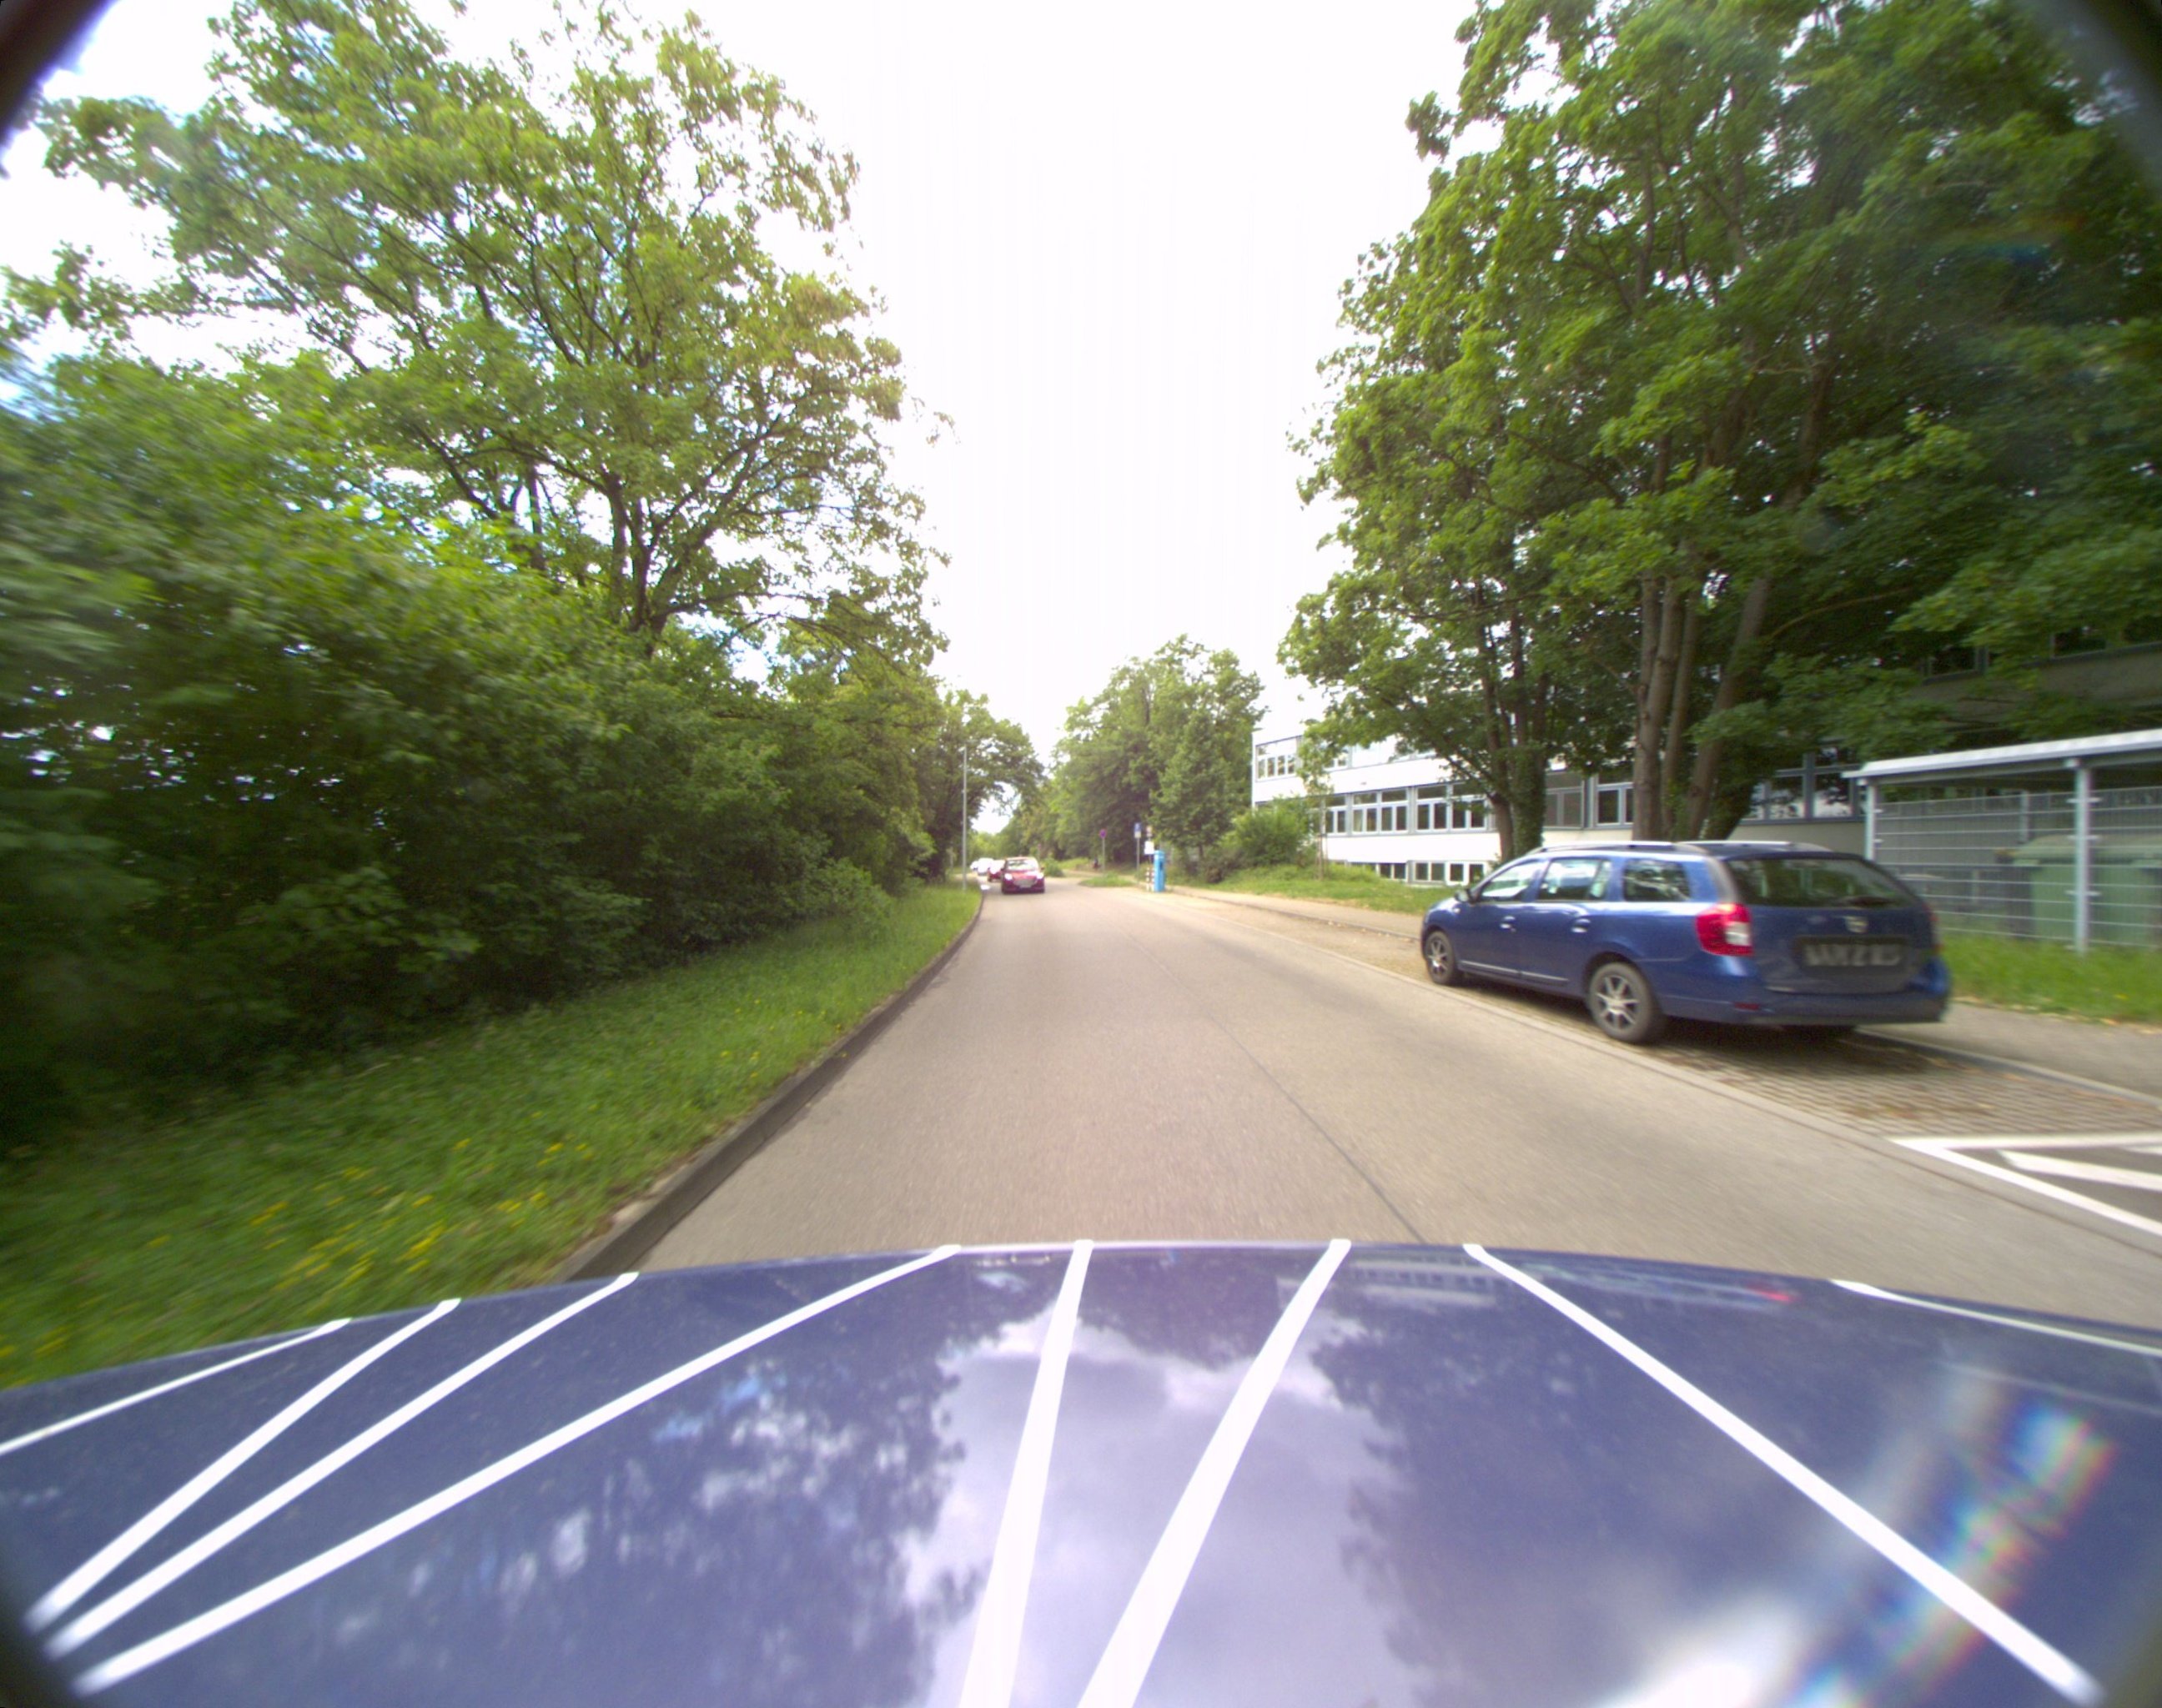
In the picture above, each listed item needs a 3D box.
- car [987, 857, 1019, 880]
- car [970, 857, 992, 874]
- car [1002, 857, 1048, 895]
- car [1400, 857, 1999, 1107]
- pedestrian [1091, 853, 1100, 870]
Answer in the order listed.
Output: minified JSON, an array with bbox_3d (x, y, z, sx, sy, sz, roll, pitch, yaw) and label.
[{"bbox_3d":[-5.546,0.992,53.724,2.000,1.564,3.997,0,0,-10],"label":"car"},{"bbox_3d":[-9.780,1.100,73.973,1.922,1.587,3.894,0,0,-10],"label":"car"},{"bbox_3d":[-2.695,0.984,35.913,1.862,1.608,4.473,-2,0,-8],"label":"car"},{"bbox_3d":[4.778,0.794,6.910,1.684,1.503,4.430,-1,0,-3],"label":"car"},{"bbox_3d":[1.445,0.765,78.150,0.762,1.653,0.808,0,0,-11],"label":"pedestrian"}]
